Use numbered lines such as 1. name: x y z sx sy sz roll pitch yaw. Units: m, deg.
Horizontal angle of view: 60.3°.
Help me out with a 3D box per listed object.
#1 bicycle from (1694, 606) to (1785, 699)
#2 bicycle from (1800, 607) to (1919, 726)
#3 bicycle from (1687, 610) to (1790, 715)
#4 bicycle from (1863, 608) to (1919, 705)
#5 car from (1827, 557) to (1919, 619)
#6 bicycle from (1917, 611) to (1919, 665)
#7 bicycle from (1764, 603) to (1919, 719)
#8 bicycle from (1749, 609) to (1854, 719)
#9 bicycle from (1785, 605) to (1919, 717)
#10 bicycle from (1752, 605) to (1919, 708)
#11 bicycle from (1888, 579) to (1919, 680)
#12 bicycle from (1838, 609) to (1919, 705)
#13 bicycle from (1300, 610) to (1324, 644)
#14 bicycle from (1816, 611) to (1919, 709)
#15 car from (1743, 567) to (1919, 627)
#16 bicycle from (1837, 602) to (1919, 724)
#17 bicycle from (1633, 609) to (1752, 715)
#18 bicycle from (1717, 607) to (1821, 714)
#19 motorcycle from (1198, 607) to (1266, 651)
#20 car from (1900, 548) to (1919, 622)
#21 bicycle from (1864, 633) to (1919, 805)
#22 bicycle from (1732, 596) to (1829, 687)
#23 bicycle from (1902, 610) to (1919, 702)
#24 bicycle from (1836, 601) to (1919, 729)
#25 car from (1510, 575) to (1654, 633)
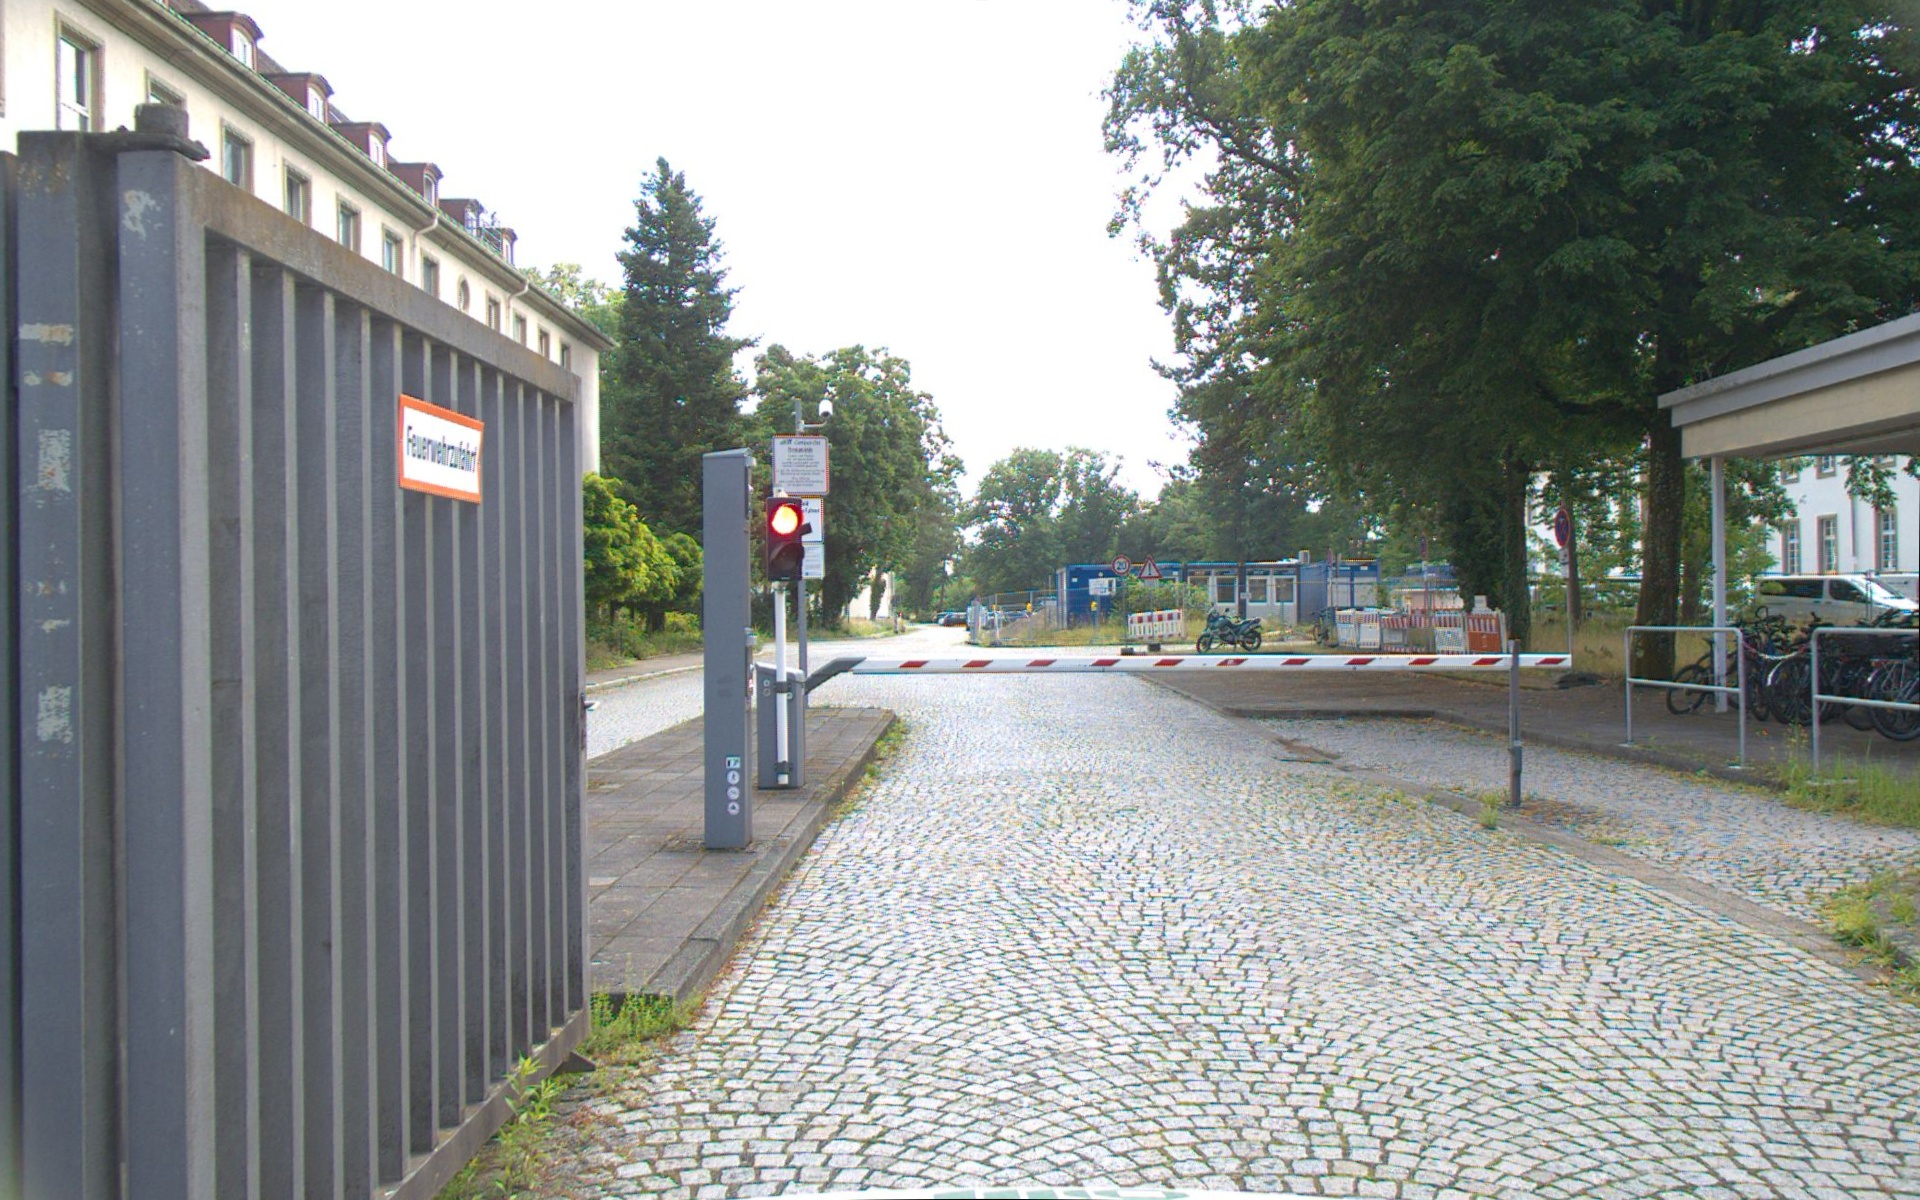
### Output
1. bicycle: 10.683 0.704 22.710 0.494 1.105 1.586 -2 4 0
2. bicycle: 9.648 0.681 17.262 1.718 1.191 0.494 -1 -3 -20
3. bicycle: 9.063 0.717 19.243 1.365 1.191 0.355 0 -3 -32
4. bicycle: 11.491 0.664 19.491 0.364 1.138 1.893 -1 -1 -10
5. car: 29.411 -0.370 50.665 1.970 1.820 4.796 0 -2 -27
6. bicycle: 9.706 0.673 15.332 1.674 1.180 0.399 -1 -3 -19
7. bicycle: 9.648 0.656 17.854 1.765 1.191 0.358 -1 -3 -6
8. bicycle: 9.432 0.703 18.533 1.365 1.191 0.355 0 -3 -32
9. bicycle: 9.881 0.670 18.273 1.352 1.191 0.358 -1 -3 -9
10. bicycle: 10.176 0.684 19.288 0.439 1.138 1.784 -1 -3 -25
11. bicycle: 11.405 0.439 18.528 0.367 1.129 1.894 -24 10 -8
12. bicycle: 11.068 0.660 19.254 0.364 1.100 1.893 -1 -2 -10
13. bicycle: 10.944 0.851 51.451 0.325 1.025 1.725 -2 -2 0
14. bicycle: 10.731 0.677 19.128 0.364 1.085 1.908 -1 -1 -10
15. car: 26.641 -0.057 50.432 1.970 1.679 4.796 0 -2 -27
16. bicycle: 9.778 0.623 16.746 1.774 1.191 0.494 -1 -3 -20
17. bicycle: 8.735 0.725 19.716 1.359 1.191 0.431 -2 0 -22
18. bicycle: 9.242 0.683 18.883 1.365 1.191 0.355 0 -3 -32
19. motorcycle: 8.200 0.875 49.895 1.917 1.215 0.461 -3 4 -2
20. car: 32.458 -0.554 50.745 1.973 2.349 6.136 0 -2 -30
21. bicycle: 6.550 0.769 10.456 0.715 1.091 1.714 -2 0 0
22. bicycle: 11.222 0.584 22.667 0.494 1.191 1.554 -2 -3 0
23. bicycle: 11.832 0.644 19.235 0.364 1.102 1.893 -1 -2 -10
24. bicycle: 9.419 0.605 15.896 1.768 1.191 0.582 -1 -3 -12
25. car: 21.057 0.150 56.126 4.132 1.852 2.000 -1 -1 2
